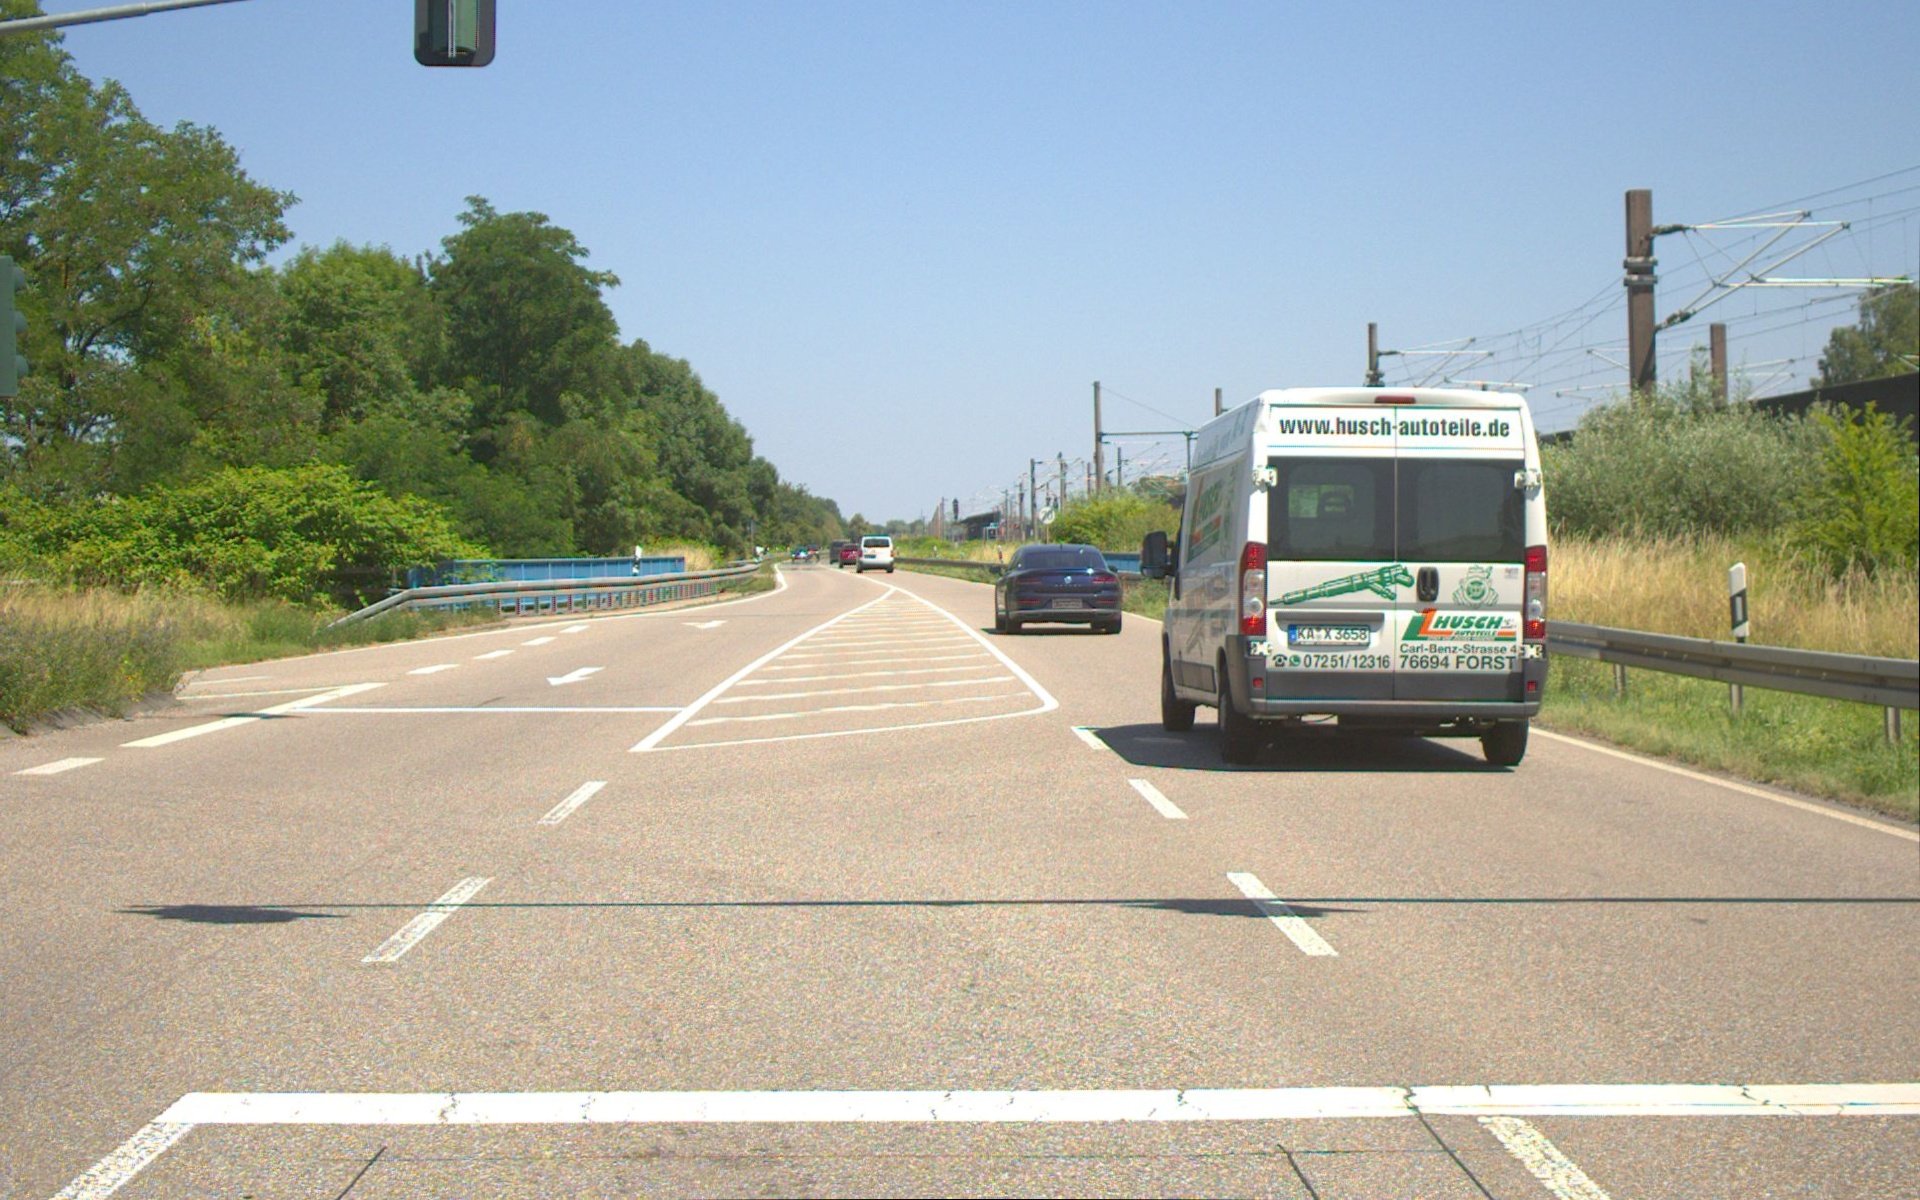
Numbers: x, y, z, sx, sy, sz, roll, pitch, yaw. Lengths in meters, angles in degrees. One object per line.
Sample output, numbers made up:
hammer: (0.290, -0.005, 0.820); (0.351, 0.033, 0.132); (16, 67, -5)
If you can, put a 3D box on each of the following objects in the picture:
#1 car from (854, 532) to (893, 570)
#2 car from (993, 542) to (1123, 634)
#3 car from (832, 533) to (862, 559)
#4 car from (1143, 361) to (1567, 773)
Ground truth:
car: (-4.626, -2.621, 183.277); (1.993, 1.977, 4.060); (1, 1, -2)
car: (1.527, -0.222, 55.071); (1.856, 1.375, 4.504); (1, 1, -1)
car: (-7.708, -3.678, 234.382); (2.019, 1.720, 4.543); (0, 1, -3)
car: (2.688, -0.282, 25.208); (2.188, 2.595, 6.751); (1, 1, -1)
